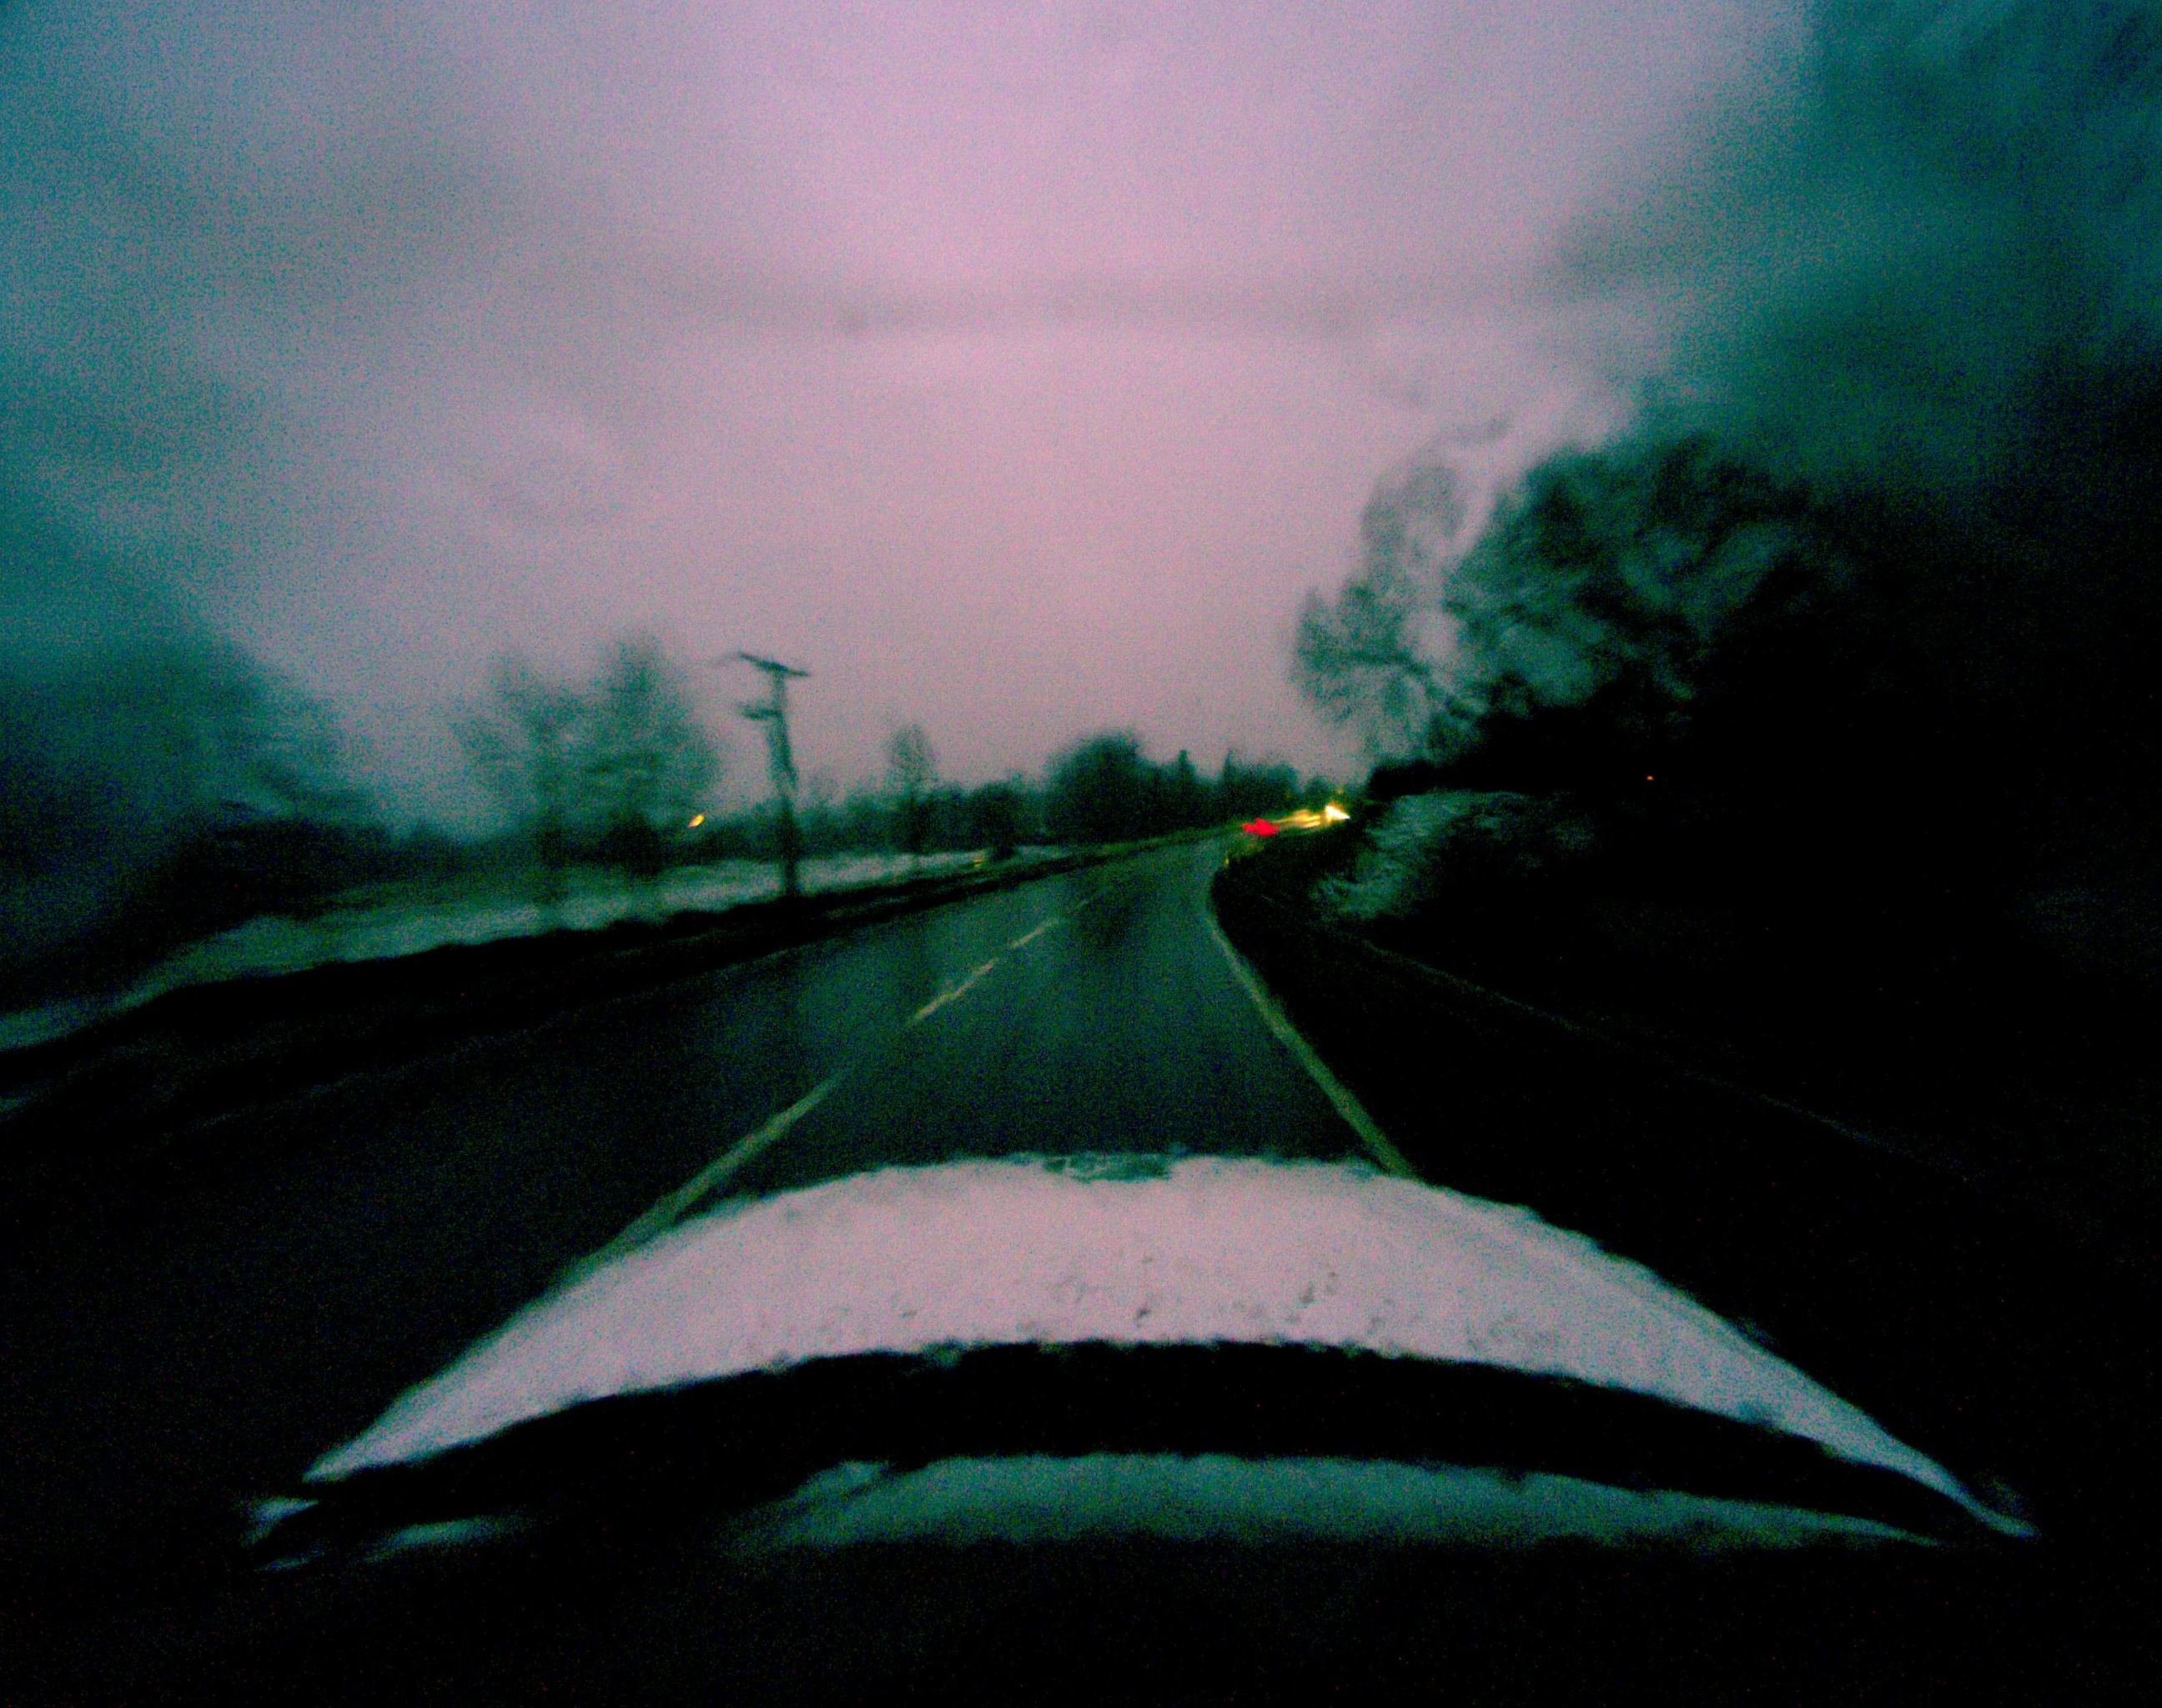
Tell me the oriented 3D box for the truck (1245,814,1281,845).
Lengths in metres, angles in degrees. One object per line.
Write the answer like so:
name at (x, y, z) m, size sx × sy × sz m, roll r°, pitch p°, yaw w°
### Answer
truck at (18.617, -2.553, 83.070) m, size 2.510 × 2.868 × 5.955 m, roll -3°, pitch 3°, yaw 22°
